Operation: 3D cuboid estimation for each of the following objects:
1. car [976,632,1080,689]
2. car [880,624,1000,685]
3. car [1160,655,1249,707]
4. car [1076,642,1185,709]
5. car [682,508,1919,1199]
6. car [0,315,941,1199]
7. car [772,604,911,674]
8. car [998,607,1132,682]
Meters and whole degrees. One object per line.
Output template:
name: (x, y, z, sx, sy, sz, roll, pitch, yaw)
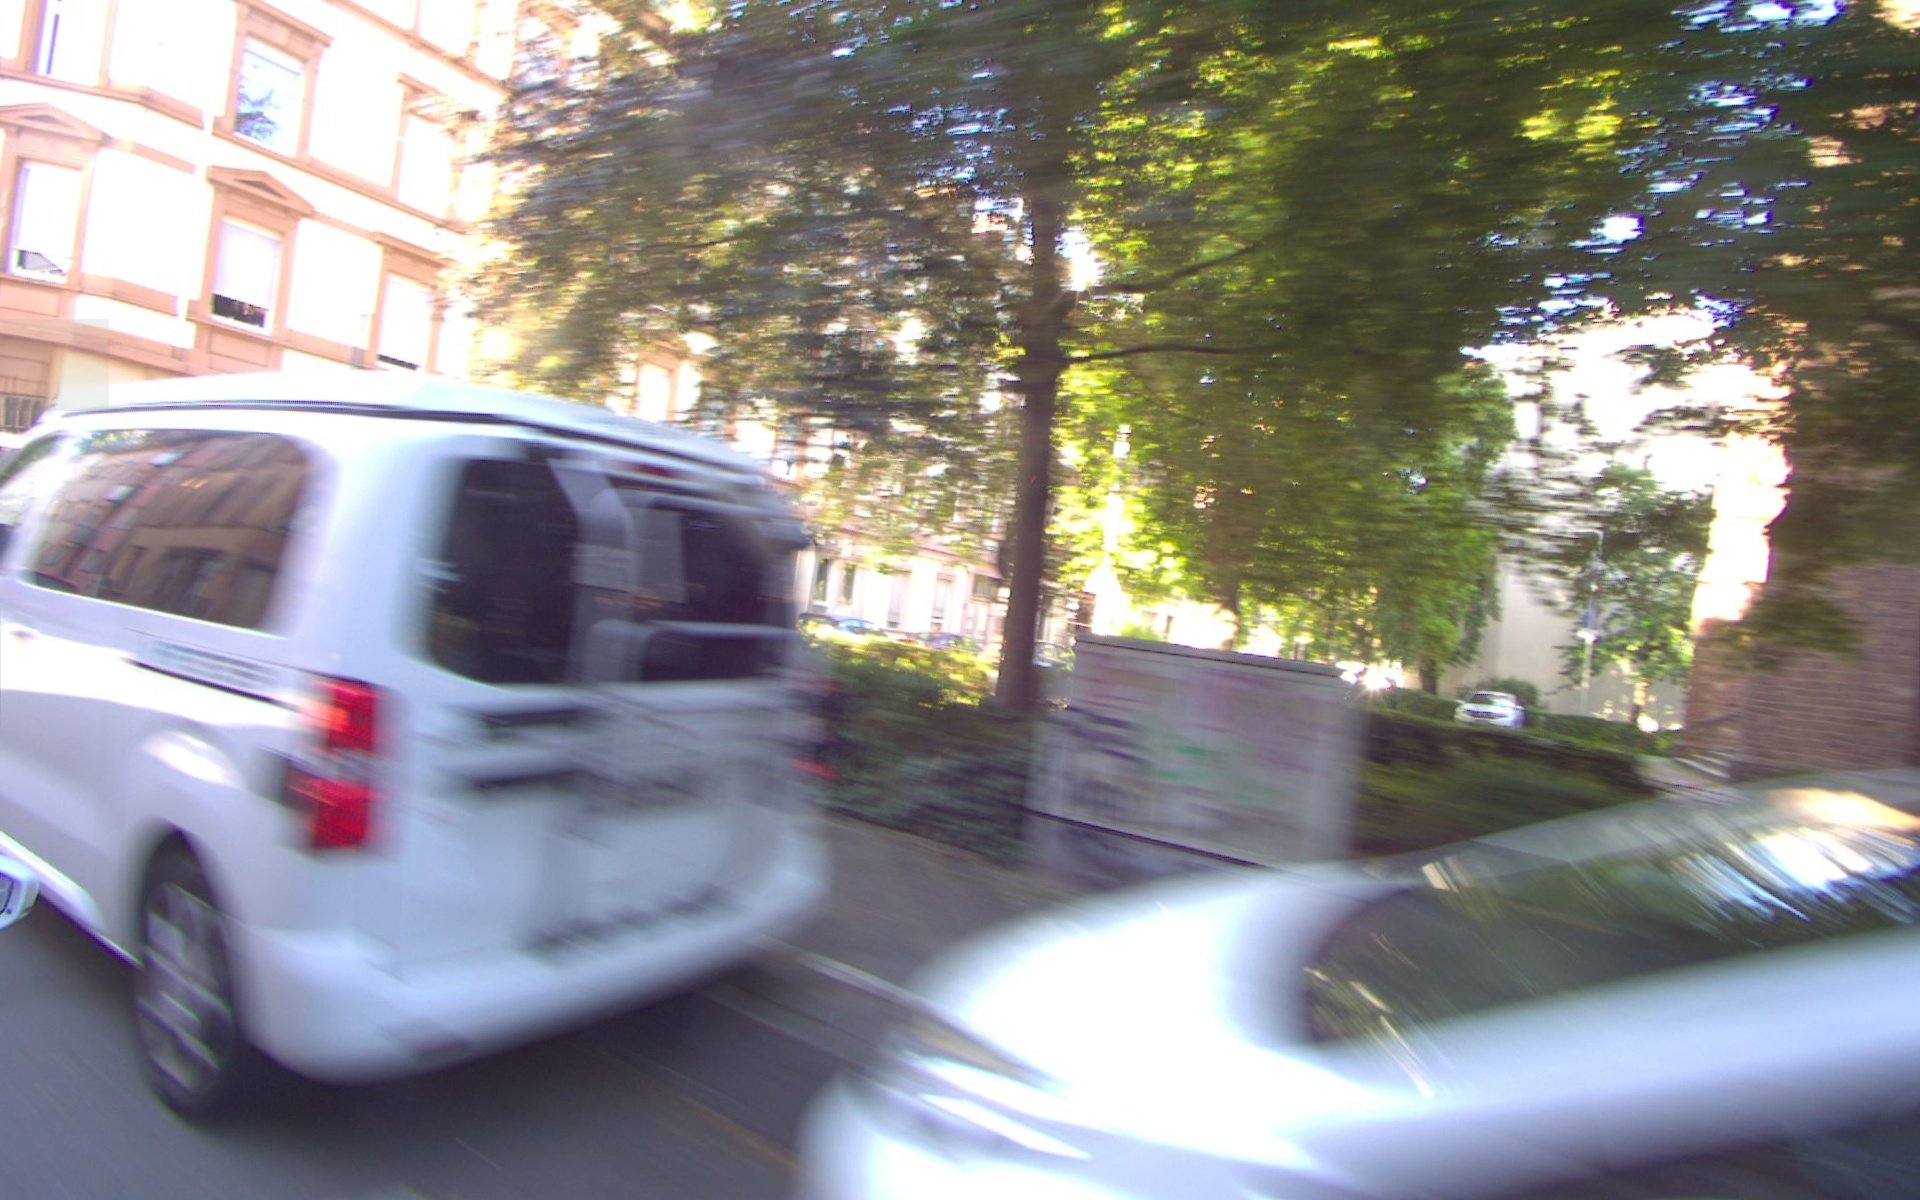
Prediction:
car: (2.410, 2.136, 35.025, 1.610, 1.570, 3.882, 4, -4, 38)
car: (-0.560, 1.707, 30.950, 1.610, 1.489, 3.689, 4, -4, 38)
car: (8.535, 2.832, 34.983, 1.610, 1.489, 3.532, 4, -4, 38)
car: (5.137, 2.288, 30.031, 1.610, 1.667, 3.532, 4, -4, 38)
car: (1.623, 0.906, 1.408, 3.764, 1.589, 1.722, 7, -1, 31)
car: (-2.640, 0.261, 4.132, 4.714, 2.024, 1.915, 7, 1, 34)
car: (-3.131, 1.094, 27.200, 1.610, 1.489, 3.532, 4, -4, 38)
car: (2.689, 1.144, 25.243, 1.610, 1.489, 3.532, 4, -4, 38)
